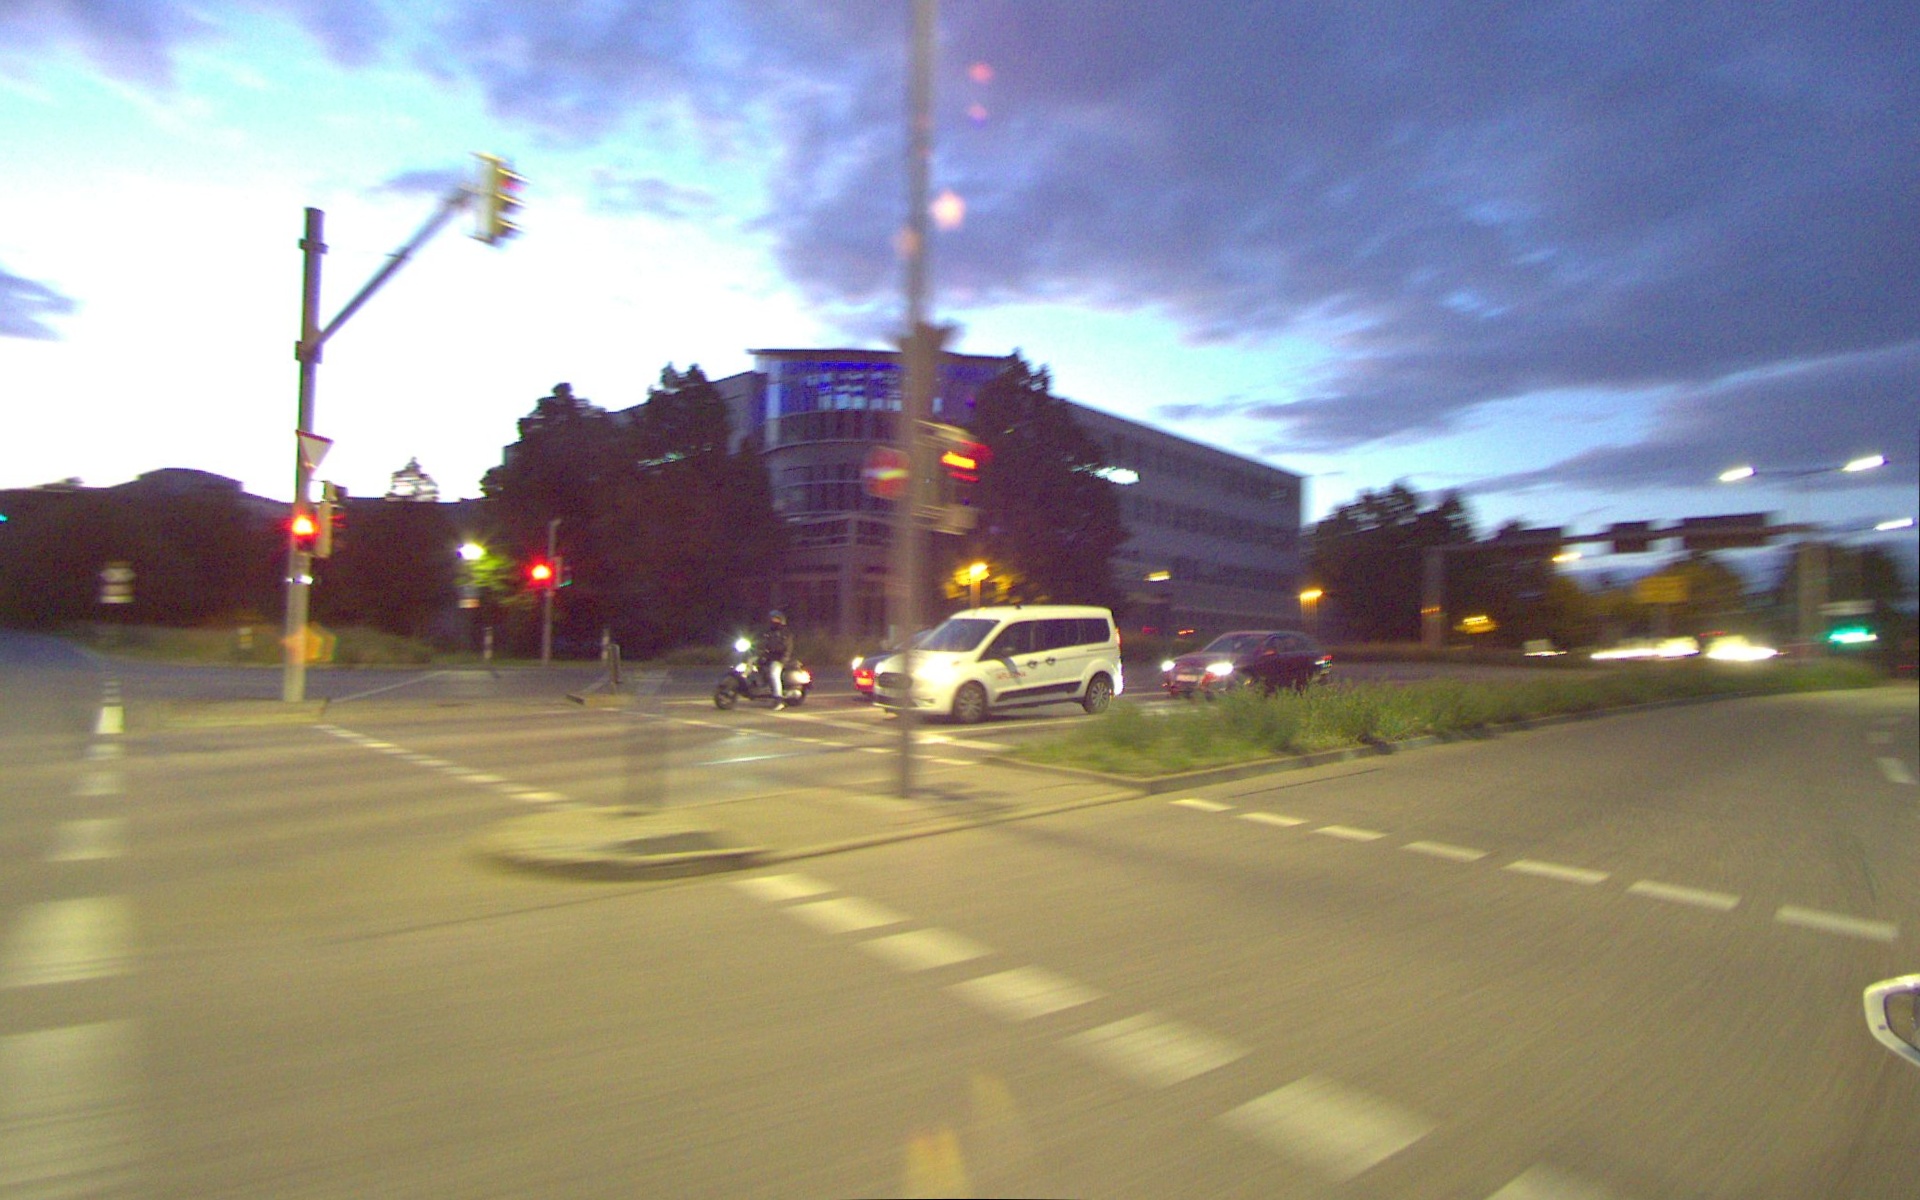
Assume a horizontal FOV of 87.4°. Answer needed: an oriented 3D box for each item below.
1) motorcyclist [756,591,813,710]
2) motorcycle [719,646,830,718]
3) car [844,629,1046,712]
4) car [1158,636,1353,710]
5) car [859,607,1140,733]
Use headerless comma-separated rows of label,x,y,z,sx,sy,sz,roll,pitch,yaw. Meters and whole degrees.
motorcyclist,-3.089,0.880,17.677,0.760,2.040,0.630,2,-2,-36
motorcycle,-3.231,1.406,17.566,1.791,1.179,0.666,2,-2,-36
car,-0.234,1.334,19.836,3.751,1.466,1.754,2,-2,-41
car,6.567,1.538,21.989,4.802,1.416,1.854,3,-2,-42
car,0.786,1.107,16.866,4.737,1.838,1.828,2,-2,-41
